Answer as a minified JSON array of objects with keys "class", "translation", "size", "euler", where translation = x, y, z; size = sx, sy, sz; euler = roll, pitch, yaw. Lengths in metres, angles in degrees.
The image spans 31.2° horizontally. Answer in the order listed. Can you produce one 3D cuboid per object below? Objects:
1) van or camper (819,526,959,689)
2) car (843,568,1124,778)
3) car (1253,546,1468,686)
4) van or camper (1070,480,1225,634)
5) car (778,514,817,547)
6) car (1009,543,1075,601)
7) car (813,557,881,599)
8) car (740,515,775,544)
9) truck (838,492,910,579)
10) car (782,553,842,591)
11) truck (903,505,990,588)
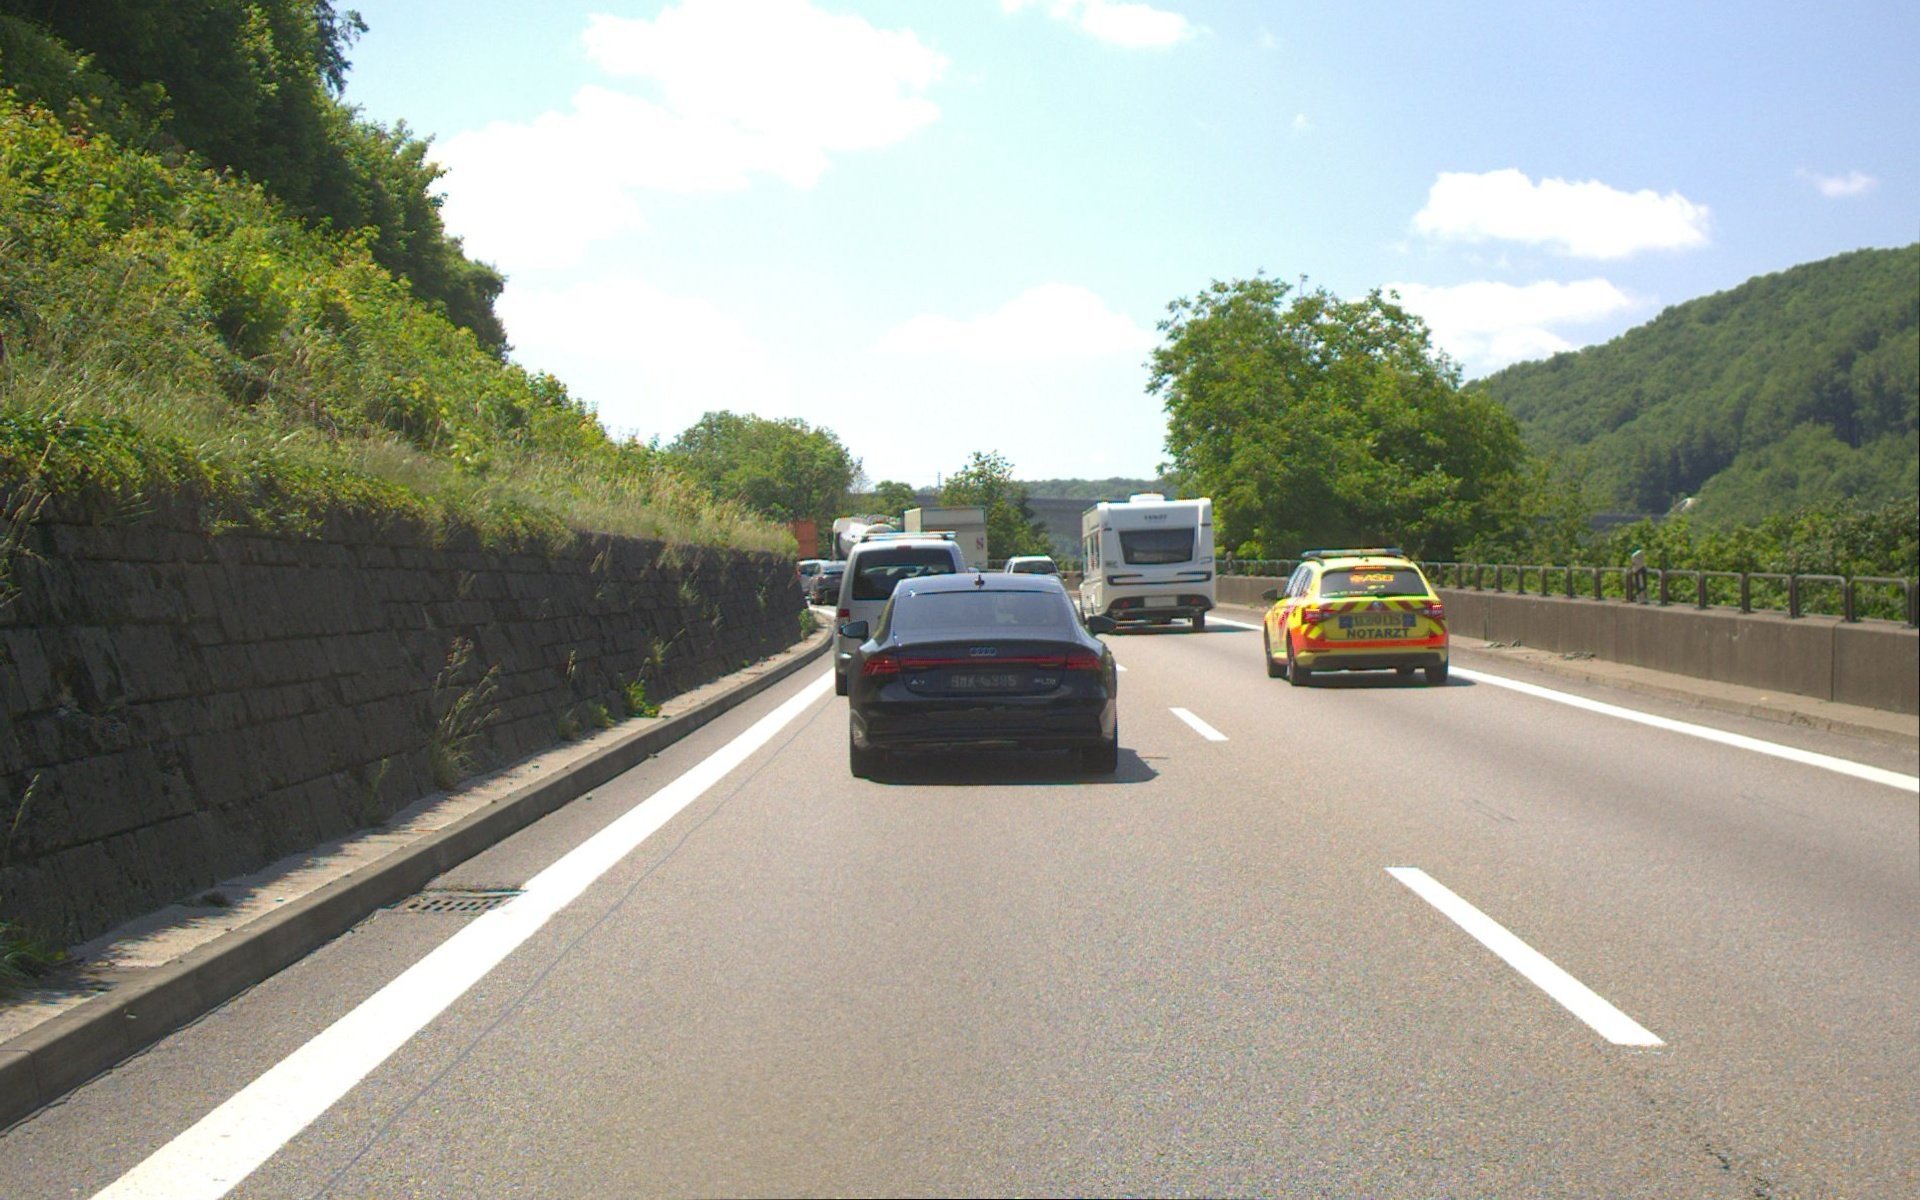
[{"class":"van or camper","translation":[-0.897,0.093,41.406],"size":[1.391,1.810,4.000],"euler":[2,0,-4]},{"class":"car","translation":[0.141,0.502,25.117],"size":[1.837,1.345,4.000],"euler":[2,0,0]},{"class":"car","translation":[4.623,0.189,40.217],"size":[1.862,1.483,4.000],"euler":[2,0,-2]},{"class":"van or camper","translation":[3.737,-0.828,69.841],"size":[2.455,2.908,6.126],"euler":[2,0,-2]},{"class":"car","translation":[-10.221,-4.362,215.966],"size":[1.993,2.007,4.001],"euler":[2,1,-9]},{"class":"car","translation":[2.460,-0.860,103.502],"size":[1.841,1.711,4.000],"euler":[0,1,-1]},{"class":"car","translation":[-4.198,-0.818,127.307],"size":[1.993,1.459,4.001],"euler":[2,1,-9]},{"class":"car","translation":[-14.290,-4.962,242.655],"size":[1.993,2.007,4.001],"euler":[2,1,-9]},{"class":"truck","translation":[-4.141,-3.061,164.250],"size":[2.732,4.082,7.481],"euler":[0,1,-7]},{"class":"car","translation":[-6.114,-1.150,141.509],"size":[1.993,1.459,4.001],"euler":[2,1,-9]},{"class":"truck","translation":[-0.577,-2.088,134.059],"size":[2.840,3.120,7.481],"euler":[0,1,-5]}]
